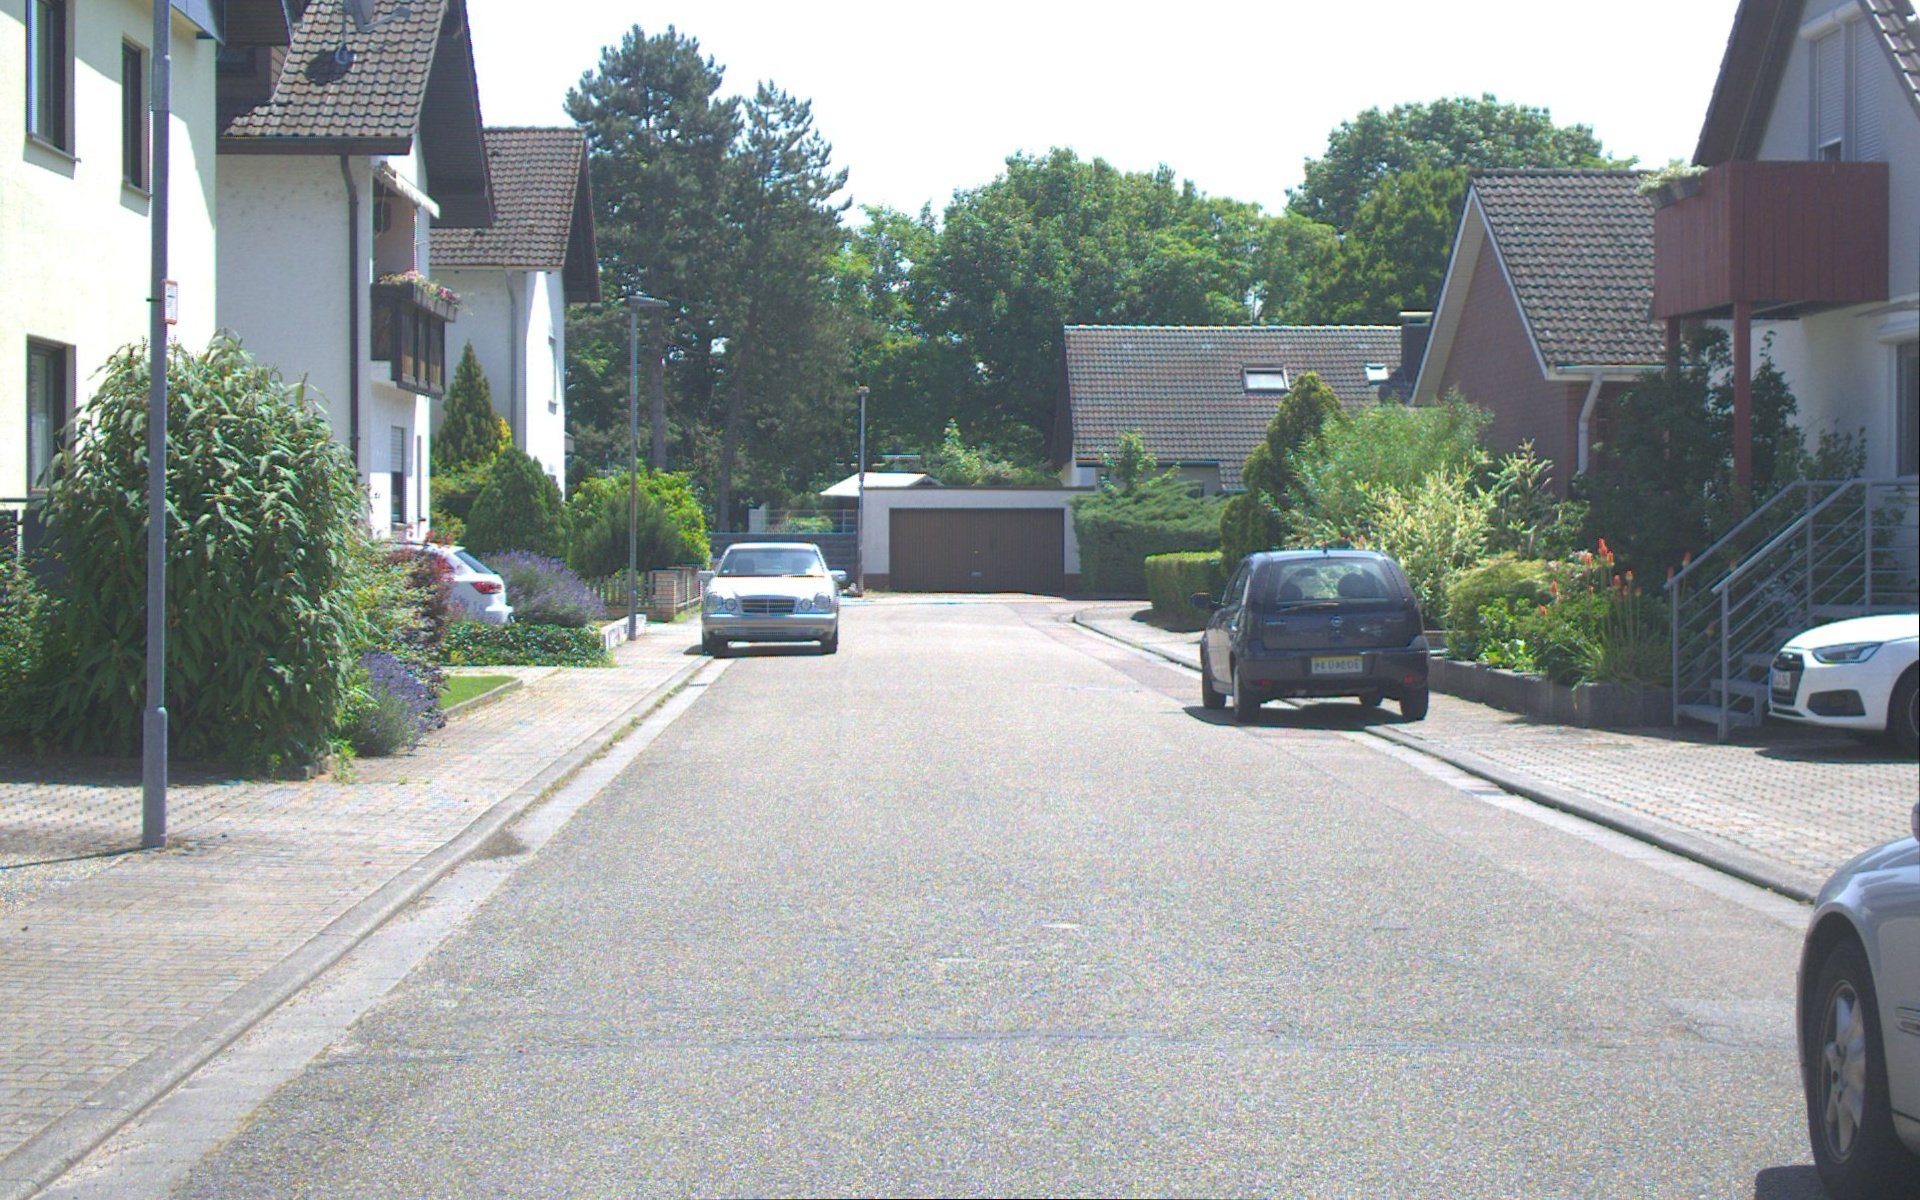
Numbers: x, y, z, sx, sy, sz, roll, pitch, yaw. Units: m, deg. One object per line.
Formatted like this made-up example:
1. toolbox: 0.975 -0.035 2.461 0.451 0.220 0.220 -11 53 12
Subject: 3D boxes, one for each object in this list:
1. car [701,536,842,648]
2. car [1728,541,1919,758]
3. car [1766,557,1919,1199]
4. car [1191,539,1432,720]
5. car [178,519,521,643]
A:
1. car: -2.484 -0.145 46.028 1.699 1.388 4.337 1 1 -1
2. car: 7.746 0.337 23.491 4.537 1.391 1.952 1 1 1
3. car: 2.851 0.679 6.226 1.686 1.455 4.337 0 1 -1
4. car: 2.994 0.213 29.907 1.650 1.435 3.652 1 1 -1
5. car: -7.389 -0.241 41.914 3.986 1.415 1.846 1 1 -7
